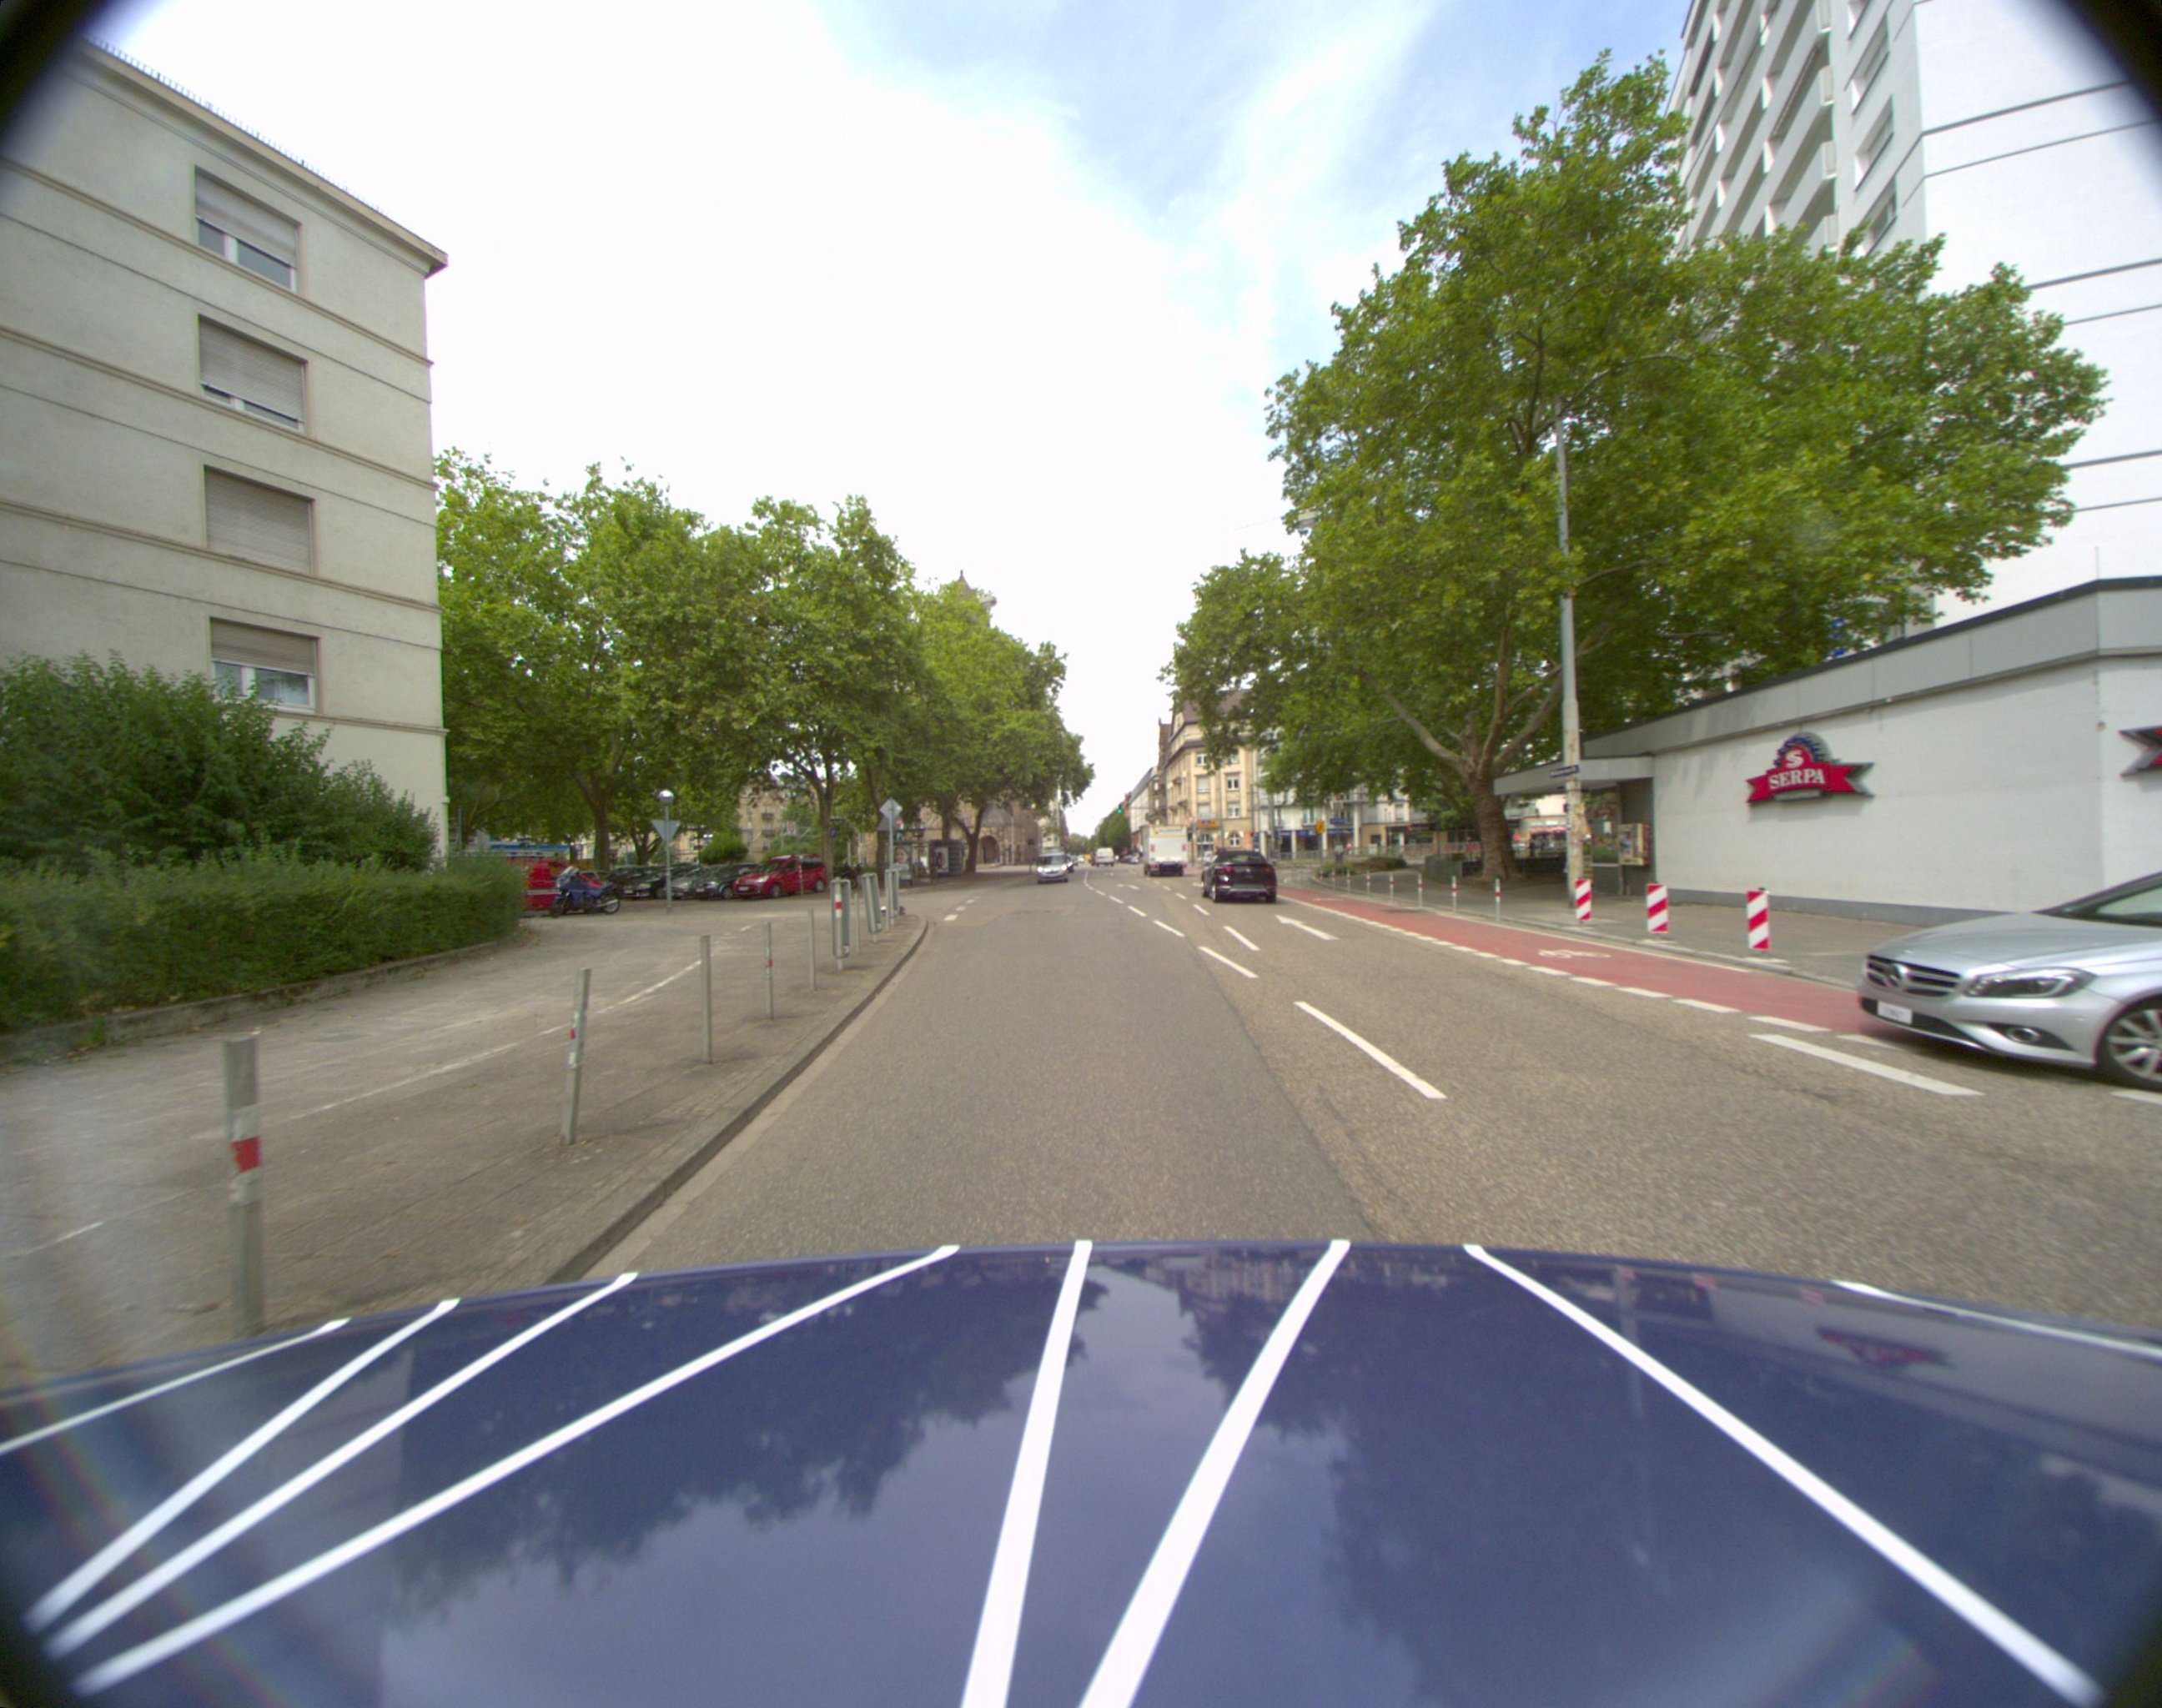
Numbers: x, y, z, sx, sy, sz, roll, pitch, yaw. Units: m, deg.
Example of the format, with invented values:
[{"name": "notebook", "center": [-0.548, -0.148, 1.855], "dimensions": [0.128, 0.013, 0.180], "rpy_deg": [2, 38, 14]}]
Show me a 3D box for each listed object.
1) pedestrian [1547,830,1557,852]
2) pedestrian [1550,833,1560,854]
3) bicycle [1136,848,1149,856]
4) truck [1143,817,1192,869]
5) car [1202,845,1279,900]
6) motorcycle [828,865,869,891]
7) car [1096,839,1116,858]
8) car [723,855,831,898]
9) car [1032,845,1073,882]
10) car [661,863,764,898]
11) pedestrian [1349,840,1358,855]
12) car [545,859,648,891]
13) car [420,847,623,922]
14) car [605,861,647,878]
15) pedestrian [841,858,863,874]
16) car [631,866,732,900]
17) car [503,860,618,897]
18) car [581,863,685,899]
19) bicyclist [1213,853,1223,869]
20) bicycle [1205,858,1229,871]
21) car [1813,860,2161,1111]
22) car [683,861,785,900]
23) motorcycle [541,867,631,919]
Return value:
[{"name": "pedestrian", "center": [46.666, -1.282, 75.260], "dimensions": [0.756, 2.237, 0.762], "rpy_deg": [-1, 0, 25]}, {"name": "pedestrian", "center": [45.896, -1.002, 73.588], "dimensions": [0.756, 2.002, 0.762], "rpy_deg": [-1, 0, 25]}, {"name": "bicycle", "center": [9.043, -0.282, 111.407], "dimensions": [1.872, 1.185, 0.456], "rpy_deg": [-2, 0, 20]}, {"name": "truck", "center": [5.393, -0.659, 48.379], "dimensions": [2.547, 3.089, 7.020], "rpy_deg": [0, 0, 2]}, {"name": "car", "center": [4.728, 0.518, 23.021], "dimensions": [1.701, 1.509, 4.001], "rpy_deg": [-1, 0, 3]}, {"name": "motorcycle", "center": [-11.846, 1.217, 38.730], "dimensions": [1.859, 1.215, 0.531], "rpy_deg": [-2, 0, -3]}, {"name": "car", "center": [2.669, -0.585, 83.333], "dimensions": [1.928, 1.925, 4.947], "rpy_deg": [-3, 0, 0]}, {"name": "car", "center": [-13.169, 0.929, 33.177], "dimensions": [1.934, 1.696, 4.336], "rpy_deg": [-1, 0, 20]}, {"name": "car", "center": [-1.632, 0.535, 44.893], "dimensions": [2.082, 2.039, 4.681], "rpy_deg": [-2, 0, 1]}, {"name": "car", "center": [-17.336, 1.229, 35.970], "dimensions": [1.747, 1.455, 4.191], "rpy_deg": [-1, 0, 24]}, {"name": "pedestrian", "center": [29.251, -0.718, 81.614], "dimensions": [0.837, 1.543, 0.869], "rpy_deg": [-1, 1, 24]}, {"name": "car", "center": [-24.588, 1.041, 38.725], "dimensions": [1.995, 1.455, 4.006], "rpy_deg": [-1, 0, 20]}, {"name": "car", "center": [-17.629, 0.906, 24.278], "dimensions": [1.995, 2.137, 4.852], "rpy_deg": [-2, -1, 23]}, {"name": "car", "center": [-54.486, 1.887, 91.064], "dimensions": [4.372, 1.866, 2.003], "rpy_deg": [-2, -1, 21]}, {"name": "pedestrian", "center": [-17.776, 0.945, 58.984], "dimensions": [1.096, 1.206, 1.142], "rpy_deg": [-1, 1, 25]}, {"name": "car", "center": [-19.405, 1.398, 37.064], "dimensions": [1.995, 1.455, 4.006], "rpy_deg": [-1, 0, 20]}, {"name": "car", "center": [-27.106, 1.249, 39.759], "dimensions": [1.995, 1.685, 4.566], "rpy_deg": [-1, 0, 20]}, {"name": "car", "center": [-22.044, 1.311, 37.566], "dimensions": [1.995, 1.589, 4.006], "rpy_deg": [-1, 0, 20]}, {"name": "bicyclist", "center": [11.754, 0.612, 65.059], "dimensions": [0.751, 1.334, 0.492], "rpy_deg": [-2, 0, 14]}, {"name": "bicycle", "center": [11.640, 0.860, 65.150], "dimensions": [1.967, 1.088, 0.627], "rpy_deg": [0, 0, 13]}, {"name": "car", "center": [8.014, 0.776, 5.025], "dimensions": [4.177, 1.442, 1.851], "rpy_deg": [-1, 0, 16]}, {"name": "car", "center": [-15.442, 1.131, 34.045], "dimensions": [1.829, 1.543, 4.006], "rpy_deg": [-1, 0, 20]}, {"name": "motorcycle", "center": [-14.758, 1.130, 22.740], "dimensions": [0.833, 1.453, 2.308], "rpy_deg": [-1, -1, 12]}]
